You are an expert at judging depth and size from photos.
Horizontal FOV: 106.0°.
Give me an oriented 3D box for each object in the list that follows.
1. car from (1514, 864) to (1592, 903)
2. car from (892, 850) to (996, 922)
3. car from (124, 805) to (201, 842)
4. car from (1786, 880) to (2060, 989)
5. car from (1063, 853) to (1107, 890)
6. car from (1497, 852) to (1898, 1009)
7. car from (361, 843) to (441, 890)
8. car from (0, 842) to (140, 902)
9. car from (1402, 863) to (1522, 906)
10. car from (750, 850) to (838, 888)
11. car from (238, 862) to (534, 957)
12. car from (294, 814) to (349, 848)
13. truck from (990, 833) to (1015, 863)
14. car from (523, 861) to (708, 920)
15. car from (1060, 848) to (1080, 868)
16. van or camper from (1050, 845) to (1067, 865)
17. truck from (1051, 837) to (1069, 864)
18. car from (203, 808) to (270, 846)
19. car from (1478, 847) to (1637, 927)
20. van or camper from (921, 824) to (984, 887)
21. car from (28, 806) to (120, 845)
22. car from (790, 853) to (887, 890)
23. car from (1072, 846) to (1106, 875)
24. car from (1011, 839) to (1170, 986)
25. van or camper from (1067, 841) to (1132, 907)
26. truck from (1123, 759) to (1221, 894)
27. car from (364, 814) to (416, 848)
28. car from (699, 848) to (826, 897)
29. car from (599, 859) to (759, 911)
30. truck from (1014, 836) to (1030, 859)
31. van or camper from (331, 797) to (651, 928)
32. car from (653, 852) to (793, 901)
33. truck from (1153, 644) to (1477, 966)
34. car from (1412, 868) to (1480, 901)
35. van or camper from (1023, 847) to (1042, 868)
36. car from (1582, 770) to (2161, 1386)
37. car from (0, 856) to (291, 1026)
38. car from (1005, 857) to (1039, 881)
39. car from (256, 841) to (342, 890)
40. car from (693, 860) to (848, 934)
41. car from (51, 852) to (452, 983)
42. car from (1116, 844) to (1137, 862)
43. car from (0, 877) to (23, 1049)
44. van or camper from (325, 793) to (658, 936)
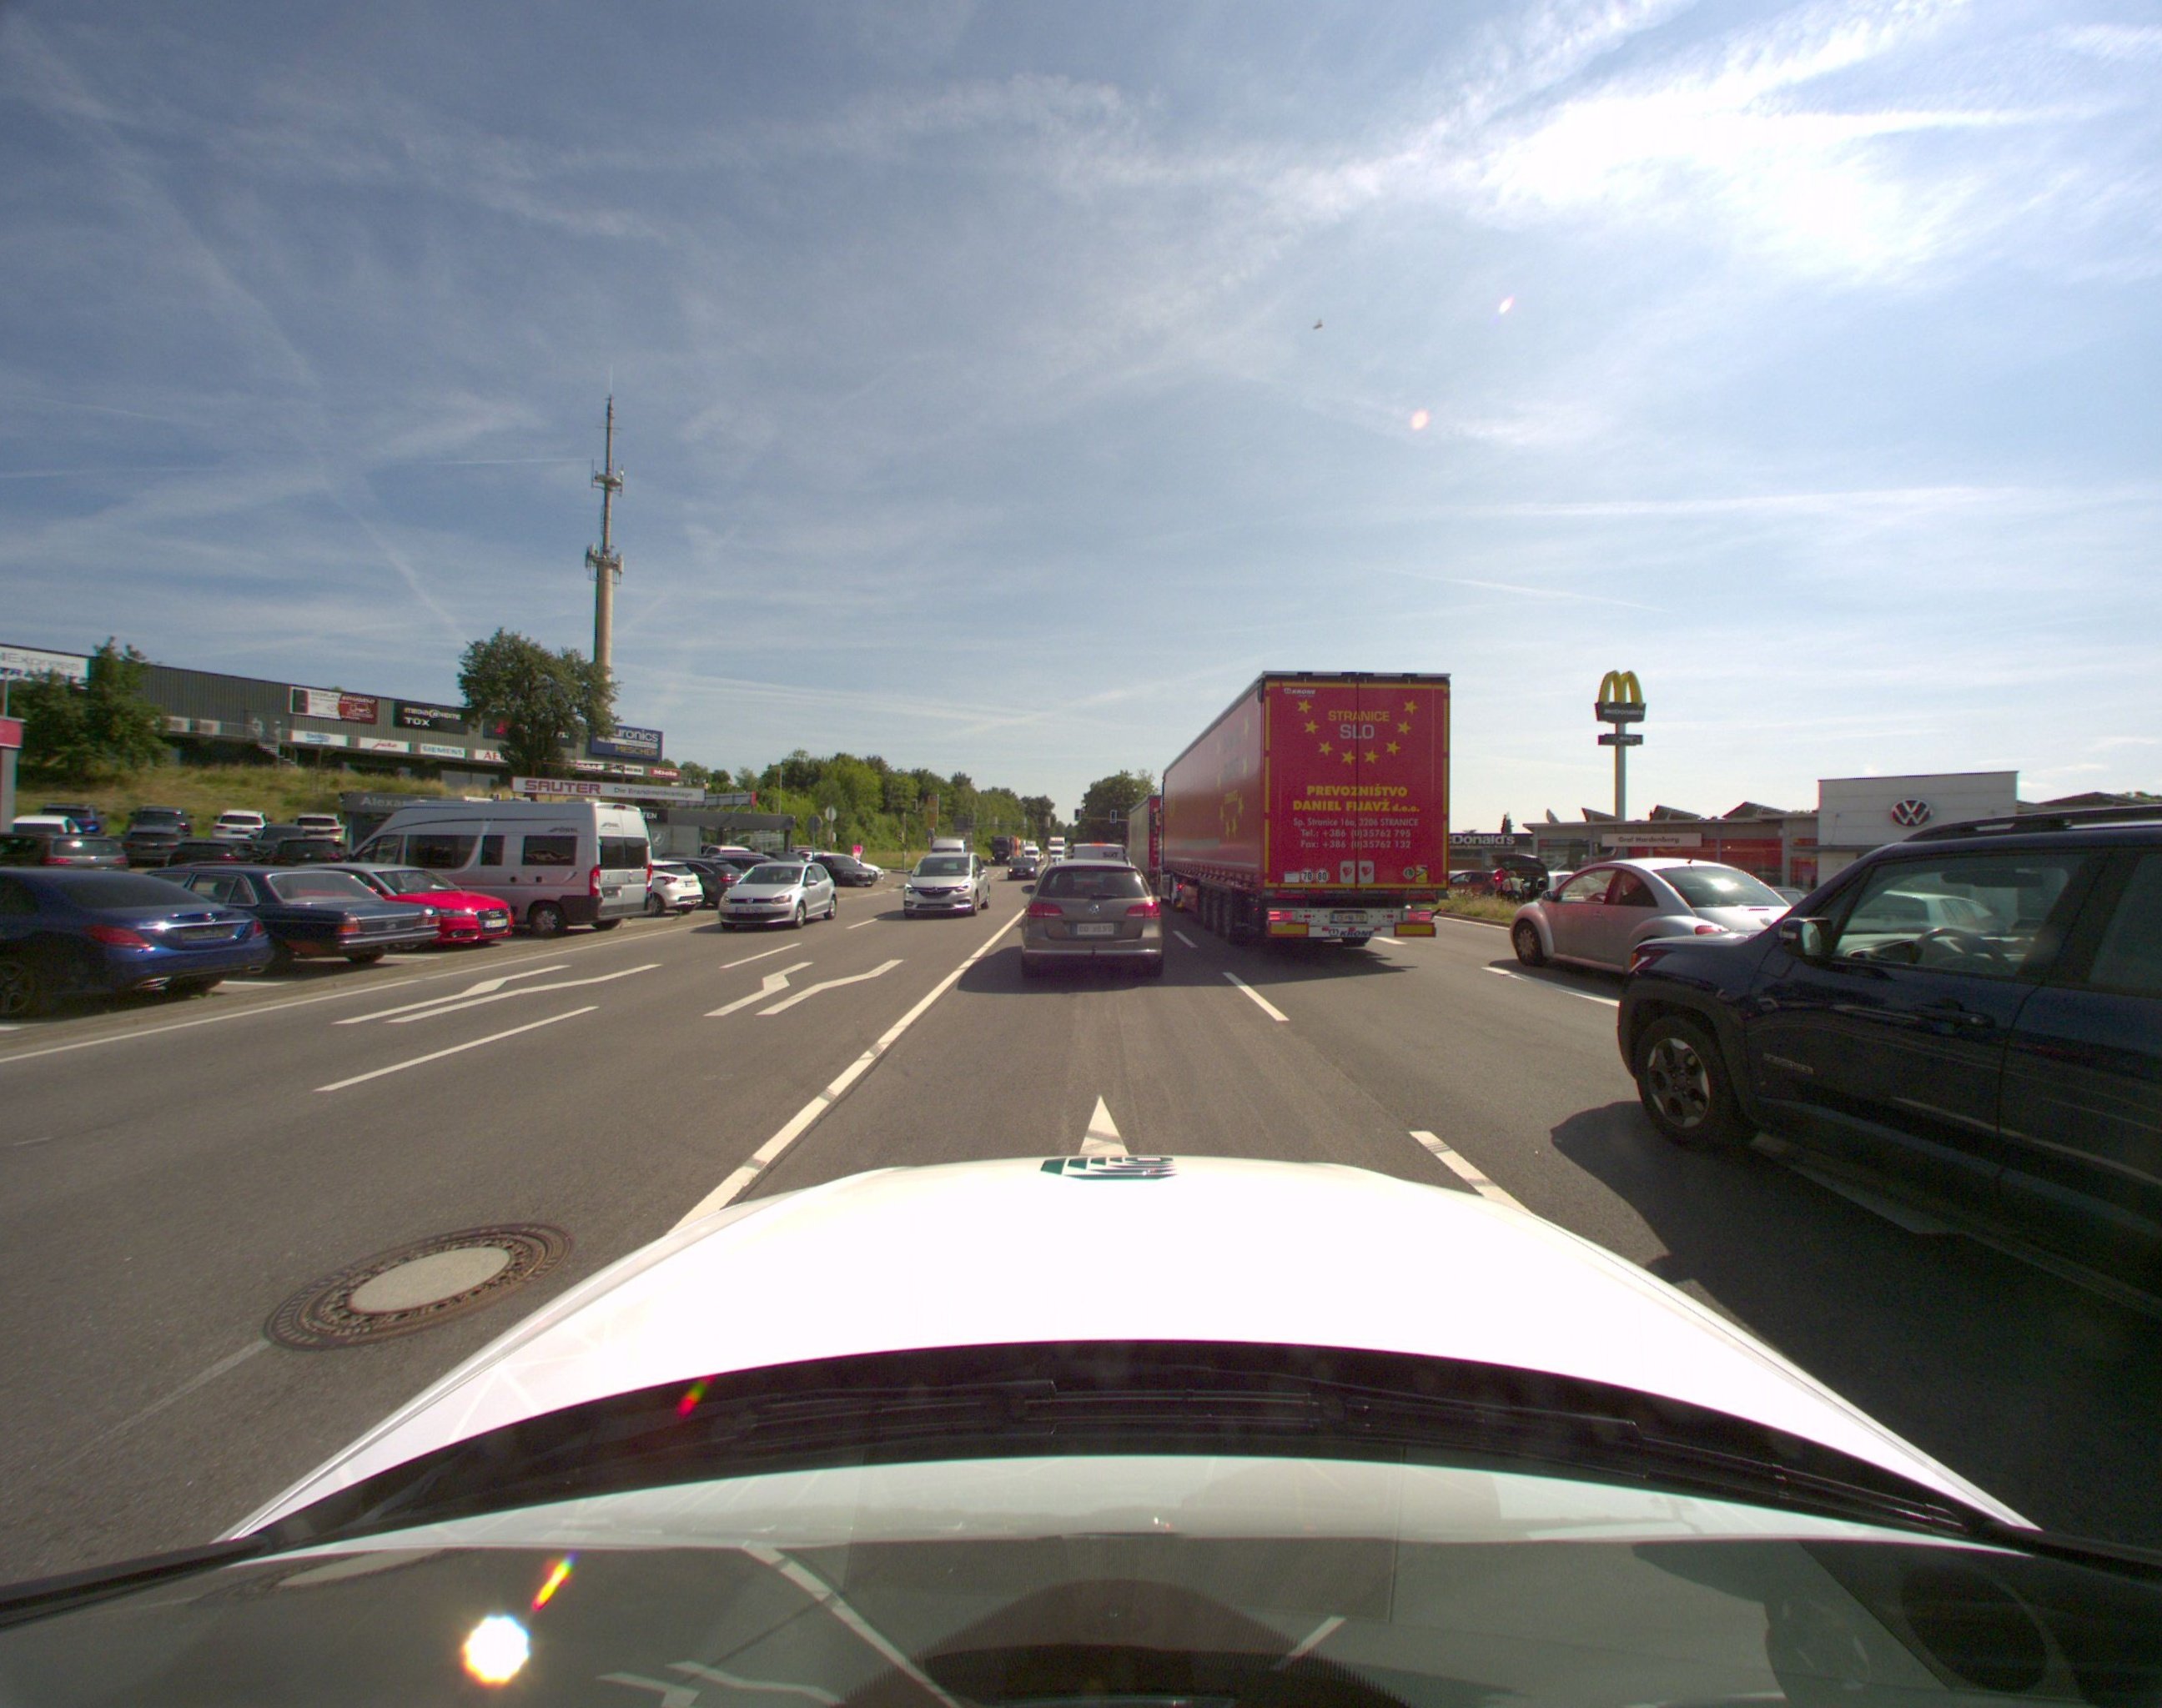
[{"bbox_3d":[20.084,1.217,34.610,1.975,1.531,4.024,1,0,44],"label":"car"},{"bbox_3d":[-3.513,0.775,21.683,1.902,1.663,4.182,-2,0,2],"label":"car"},{"bbox_3d":[-40.442,-1.291,35.940,1.745,1.450,3.704,1,-1,-41],"label":"car"},{"bbox_3d":[12.987,1.134,12.564,3.850,1.399,1.690,0,0,-23],"label":"car"},{"bbox_3d":[0.219,0.746,34.959,1.720,1.519,3.314,0,-1,2],"label":"car"},{"bbox_3d":[6.935,0.736,9.790,1.655,1.472,3.995,-1,0,-3],"label":"car"},{"bbox_3d":[-24.546,0.421,29.523,1.775,1.588,3.790,0,0,-33],"label":"car"},{"bbox_3d":[-28.956,0.491,22.700,3.795,1.588,1.773,0,0,8],"label":"car"},{"bbox_3d":[15.213,1.164,32.690,2.005,1.531,3.963,1,0,-28],"label":"car"},{"bbox_3d":[-13.462,0.684,38.175,3.780,1.693,1.854,-1,0,29],"label":"car"},{"bbox_3d":[-11.925,0.918,14.165,3.581,1.480,1.813,-1,0,1],"label":"car"},{"bbox_3d":[-36.287,-1.065,38.999,1.745,1.450,3.704,1,-1,-41],"label":"car"},{"bbox_3d":[-10.212,-0.737,106.604,2.807,3.786,6.981,-1,0,-4],"label":"truck"},{"bbox_3d":[-12.168,0.918,21.481,3.805,1.448,1.842,0,0,-1],"label":"car"},{"bbox_3d":[-1.085,0.413,82.705,1.719,1.909,3.315,0,-1,3],"label":"car"},{"bbox_3d":[-3.149,0.204,117.332,2.217,2.841,5.710,1,-1,0],"label":"van or camper"},{"bbox_3d":[-3.385,-0.571,131.923,2.544,4.307,7.595,-1,0,0],"label":"truck"},{"bbox_3d":[-38.697,-1.189,37.382,1.745,1.537,3.704,1,-1,-41],"label":"car"},{"bbox_3d":[12.363,0.801,21.135,3.852,1.921,1.689,0,0,-25],"label":"car"},{"bbox_3d":[-6.879,0.076,44.221,2.199,3.056,5.904,3,0,1],"label":"van or camper"},{"bbox_3d":[-42.202,-1.149,34.216,1.745,1.450,3.704,1,-1,-41],"label":"car"},{"bbox_3d":[-11.960,0.841,40.114,4.470,1.693,2.145,-1,0,31],"label":"car"},{"bbox_3d":[0.467,0.363,44.666,1.720,1.519,3.314,0,-1,3],"label":"car"},{"bbox_3d":[0.215,0.676,10.912,1.782,1.638,3.507,-1,0,4],"label":"car"},{"bbox_3d":[0.530,0.572,25.453,1.846,1.906,3.784,0,0,0],"label":"van or camper"},{"bbox_3d":[3.959,-1.053,40.134,3.052,5.220,17.006,0,0,0],"label":"truck"},{"bbox_3d":[-32.346,-1.043,38.130,1.745,1.450,3.704,1,-1,-41],"label":"car"},{"bbox_3d":[-11.378,0.657,29.251,3.805,1.675,1.842,0,0,-1],"label":"car"},{"bbox_3d":[-11.835,0.877,24.159,3.805,1.448,1.842,0,0,-1],"label":"car"},{"bbox_3d":[-10.293,-1.060,142.156,2.528,3.786,6.981,-1,0,-4],"label":"truck"},{"bbox_3d":[-13.702,0.179,19.221,5.871,2.873,2.290,0,0,1],"label":"van or camper"},{"bbox_3d":[-11.770,0.729,26.980,3.805,1.539,1.842,0,0,-1],"label":"car"},{"bbox_3d":[3.852,-0.644,19.121,2.947,4.270,16.583,0,0,0],"label":"truck"},{"bbox_3d":[18.680,1.503,41.616,4.059,1.536,1.718,0,0,-43],"label":"car"},{"bbox_3d":[-6.037,0.426,101.786,2.166,2.551,4.169,0,0,0],"label":"van or camper"},{"bbox_3d":[3.869,0.602,2.876,1.812,1.685,4.001,-1,0,1],"label":"car"},{"bbox_3d":[-11.337,0.865,8.871,3.697,1.555,1.707,2,1,-2],"label":"car"},{"bbox_3d":[-3.642,0.903,50.845,1.660,1.409,3.927,-2,0,2],"label":"car"},{"bbox_3d":[-27.235,0.388,28.330,3.780,1.588,1.780,-1,0,40],"label":"car"},{"bbox_3d":[-6.850,0.887,18.454,1.830,1.448,4.082,0,0,2],"label":"car"},{"bbox_3d":[-11.439,0.831,11.452,3.697,1.484,1.707,4,0,-2],"label":"car"},{"bbox_3d":[4.012,-0.060,72.149,1.721,1.519,3.311,1,-1,0],"label":"car"},{"bbox_3d":[-11.289,0.834,6.226,3.833,1.484,1.801,4,0,-2],"label":"car"},{"bbox_3d":[-11.917,0.196,16.759,5.226,2.731,2.211,0,0,1],"label":"van or camper"}]
